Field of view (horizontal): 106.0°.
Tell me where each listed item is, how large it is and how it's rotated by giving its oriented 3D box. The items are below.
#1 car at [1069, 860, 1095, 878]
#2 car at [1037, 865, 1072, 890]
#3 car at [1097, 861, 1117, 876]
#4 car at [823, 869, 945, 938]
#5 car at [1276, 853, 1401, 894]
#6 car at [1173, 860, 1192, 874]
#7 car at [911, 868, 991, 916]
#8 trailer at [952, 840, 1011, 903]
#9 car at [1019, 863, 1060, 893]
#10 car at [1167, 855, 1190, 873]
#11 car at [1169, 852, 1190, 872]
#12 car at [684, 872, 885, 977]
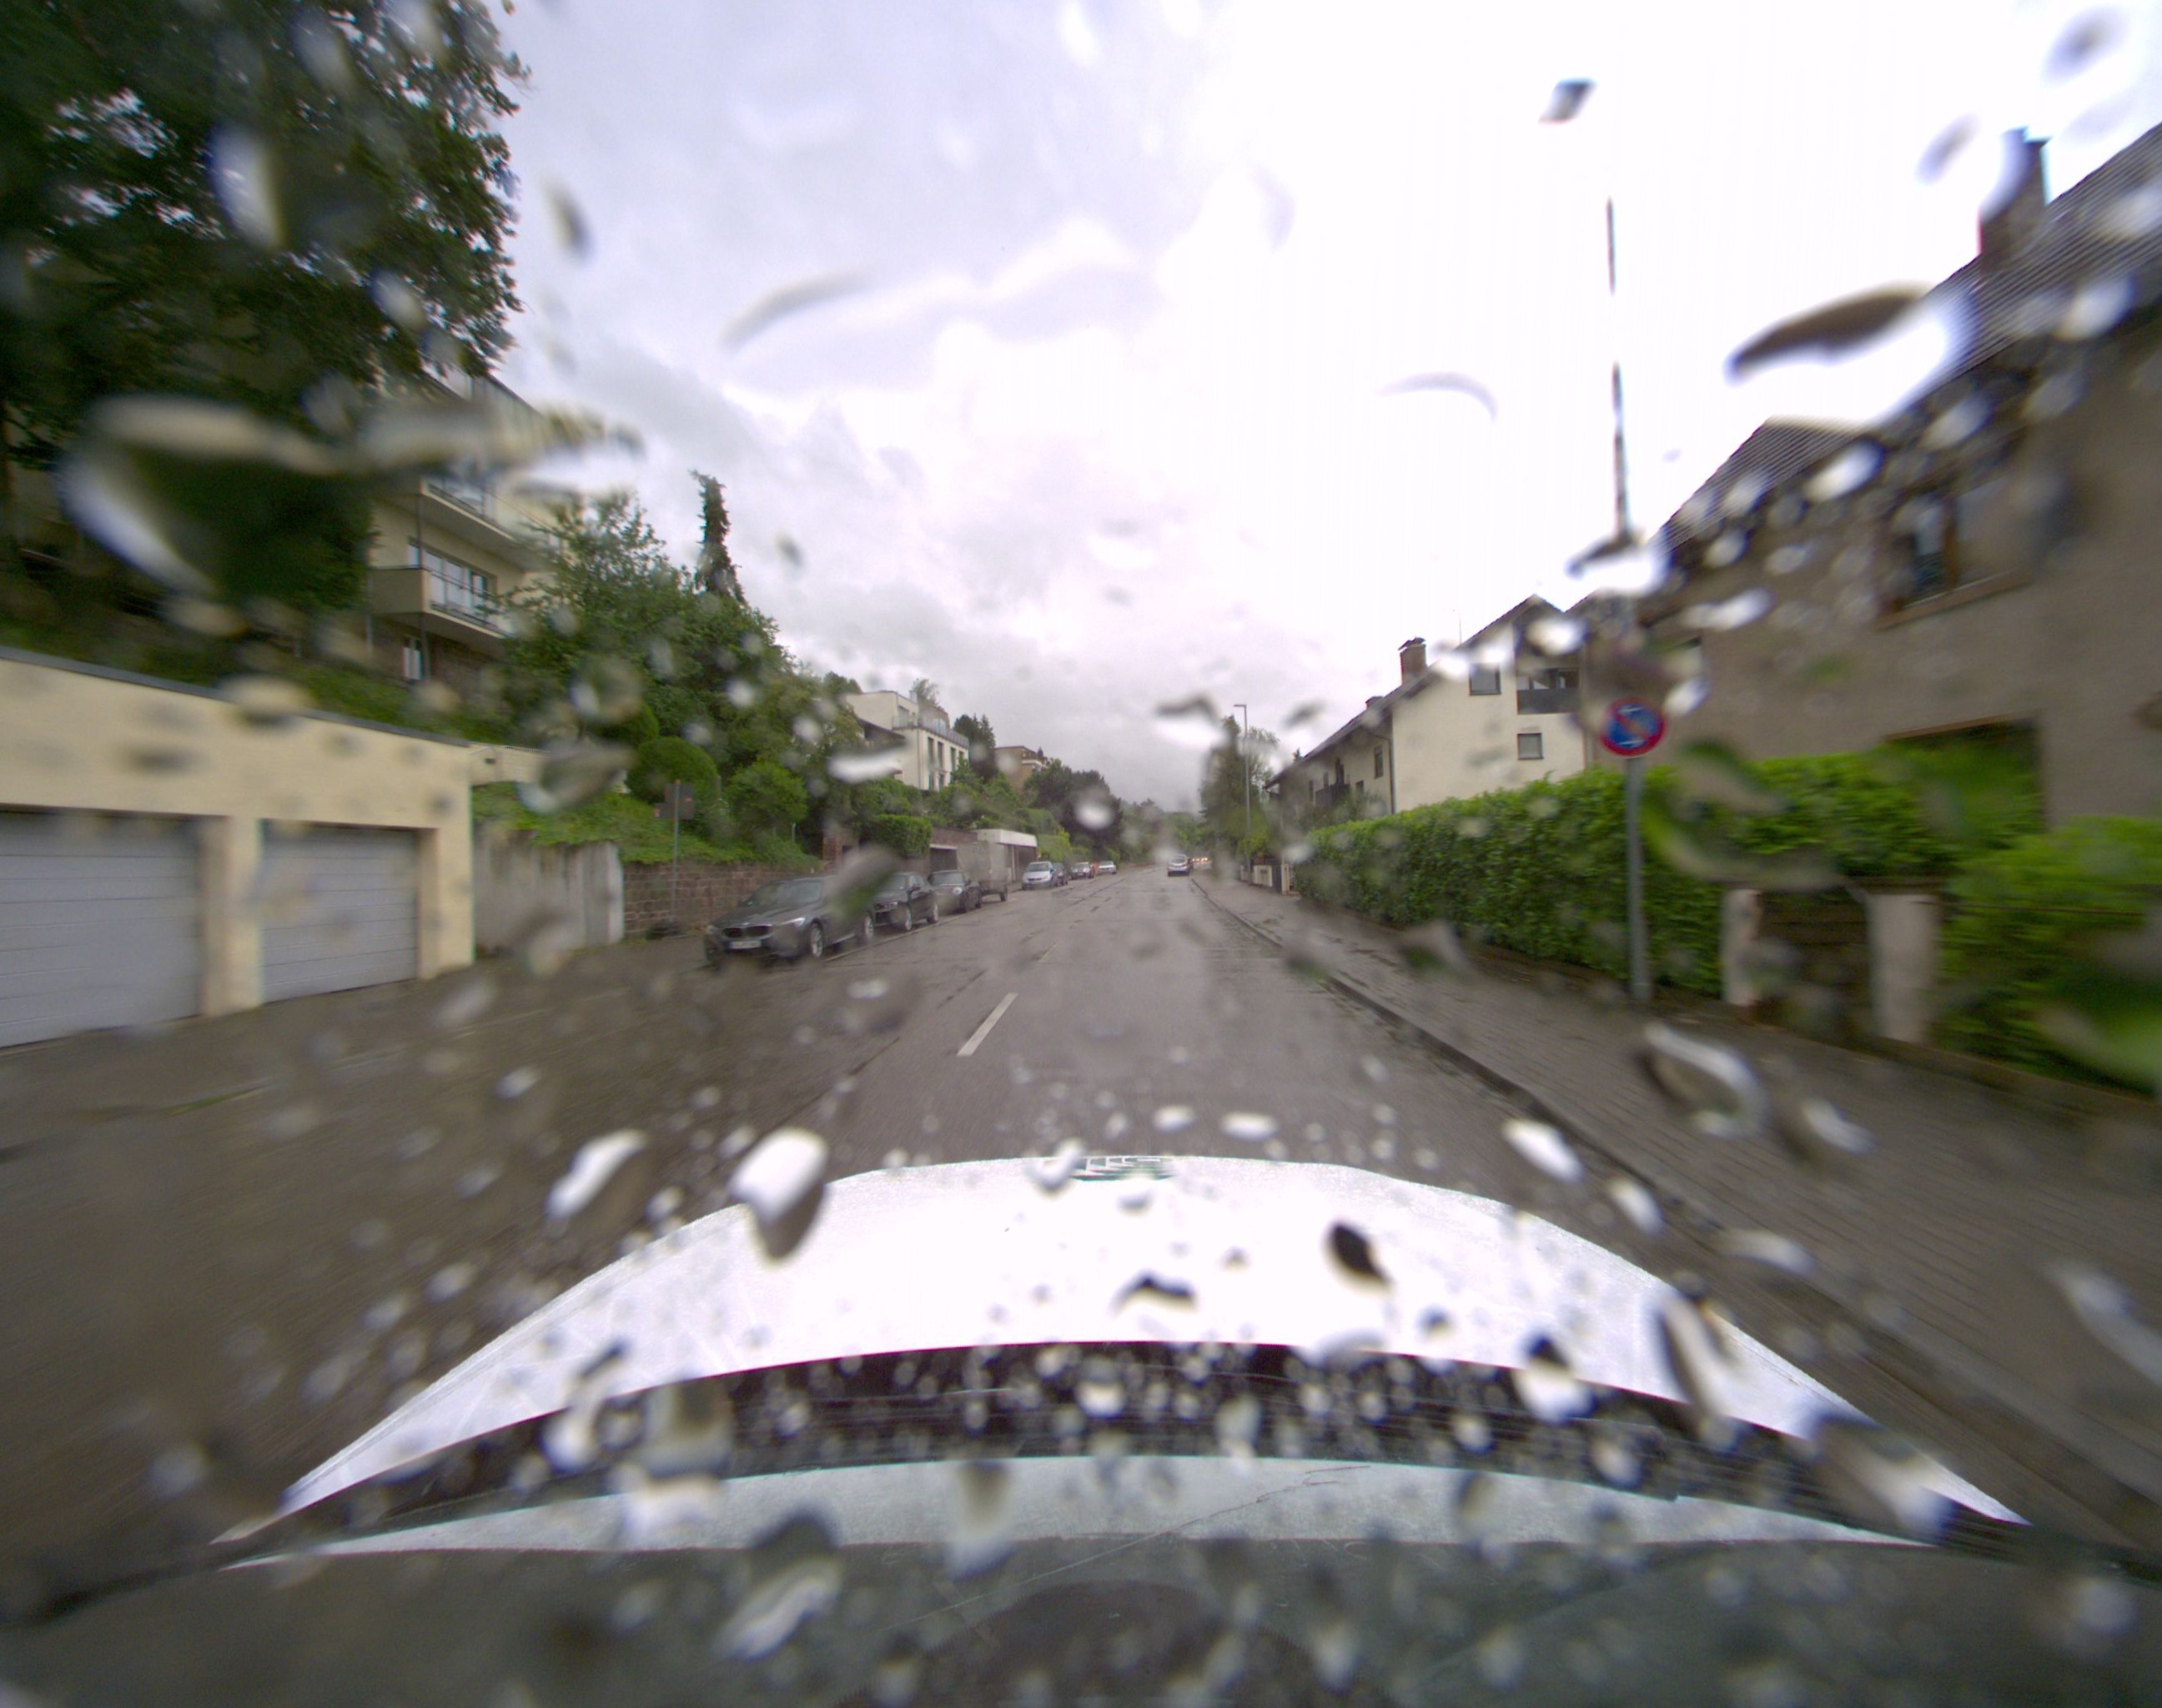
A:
[{"bbox_3d":[0.106,1.316,70.676,1.747,1.402,3.775,-4,-1,5],"label":"car"},{"bbox_3d":[-1.717,1.532,53.431,1.747,1.409,3.710,-5,0,5],"label":"car"},{"bbox_3d":[2.888,1.609,89.574,1.747,1.498,4.227,-3,-1,6],"label":"car"},{"bbox_3d":[-4.916,1.192,20.954,1.778,1.415,4.221,-3,0,4],"label":"car"},{"bbox_3d":[9.595,0.714,30.564,4.204,1.446,1.704,0,0,3],"label":"car"},{"bbox_3d":[10.255,1.285,81.976,1.699,1.403,4.213,-1,-1,9],"label":"car"},{"bbox_3d":[-4.320,1.229,27.650,1.800,1.349,3.780,-3,0,4],"label":"car"},{"bbox_3d":[-4.042,0.685,33.485,1.528,2.399,3.079,-4,-1,7],"label":"trailer"},{"bbox_3d":[-2.387,1.372,47.865,1.747,1.539,3.762,-5,0,5],"label":"car"},{"bbox_3d":[8.440,0.884,70.461,1.779,1.460,4.319,-1,-1,9],"label":"car"},{"bbox_3d":[9.249,0.756,76.035,1.774,1.790,4.371,-1,-1,9],"label":"car"},{"bbox_3d":[-5.308,1.174,15.353,1.778,1.455,4.758,-4,0,2],"label":"car"}]
